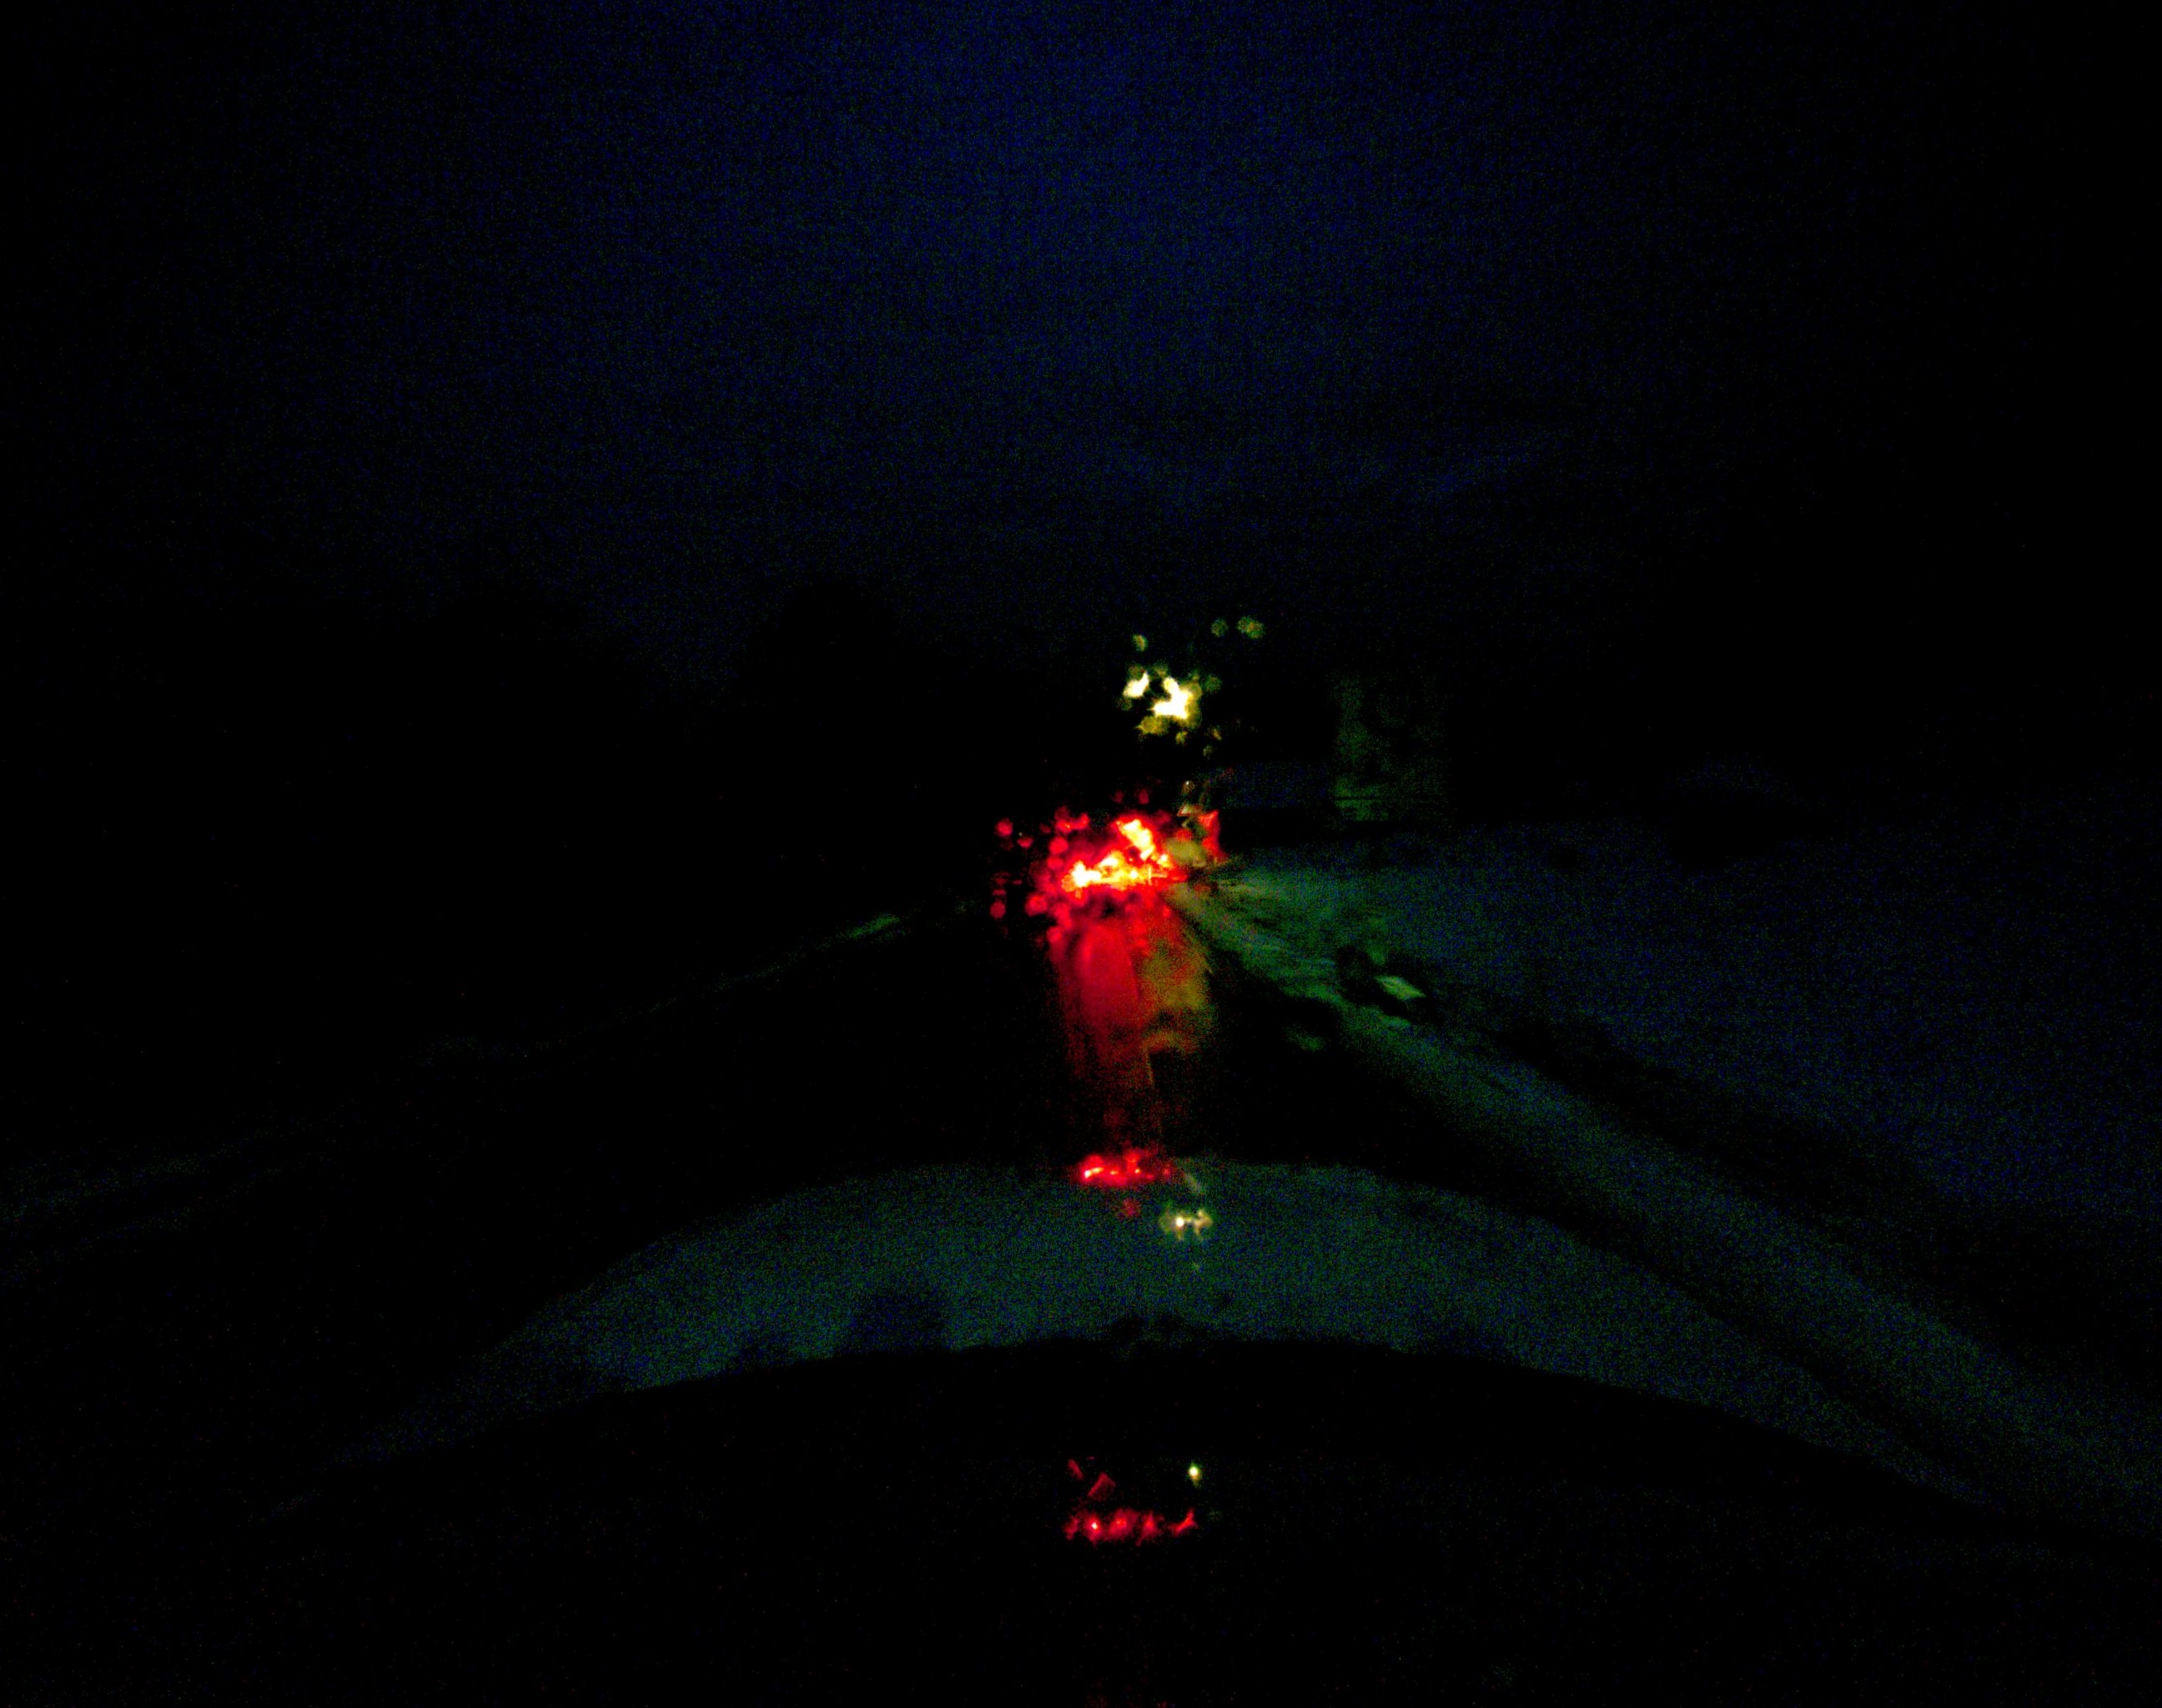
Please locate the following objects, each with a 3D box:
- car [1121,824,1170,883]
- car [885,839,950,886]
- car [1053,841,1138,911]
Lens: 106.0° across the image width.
[{"bbox_3d":[3.562,0.028,45.920,2.425,3.019,5.329,-3,-1,3],"label":"car"},{"bbox_3d":[-9.703,0.466,48.979,2.461,2.571,6.229,-1,0,1],"label":"car"},{"bbox_3d":[0.414,0.611,24.682,2.266,1.840,5.006,-1,0,0],"label":"car"}]
